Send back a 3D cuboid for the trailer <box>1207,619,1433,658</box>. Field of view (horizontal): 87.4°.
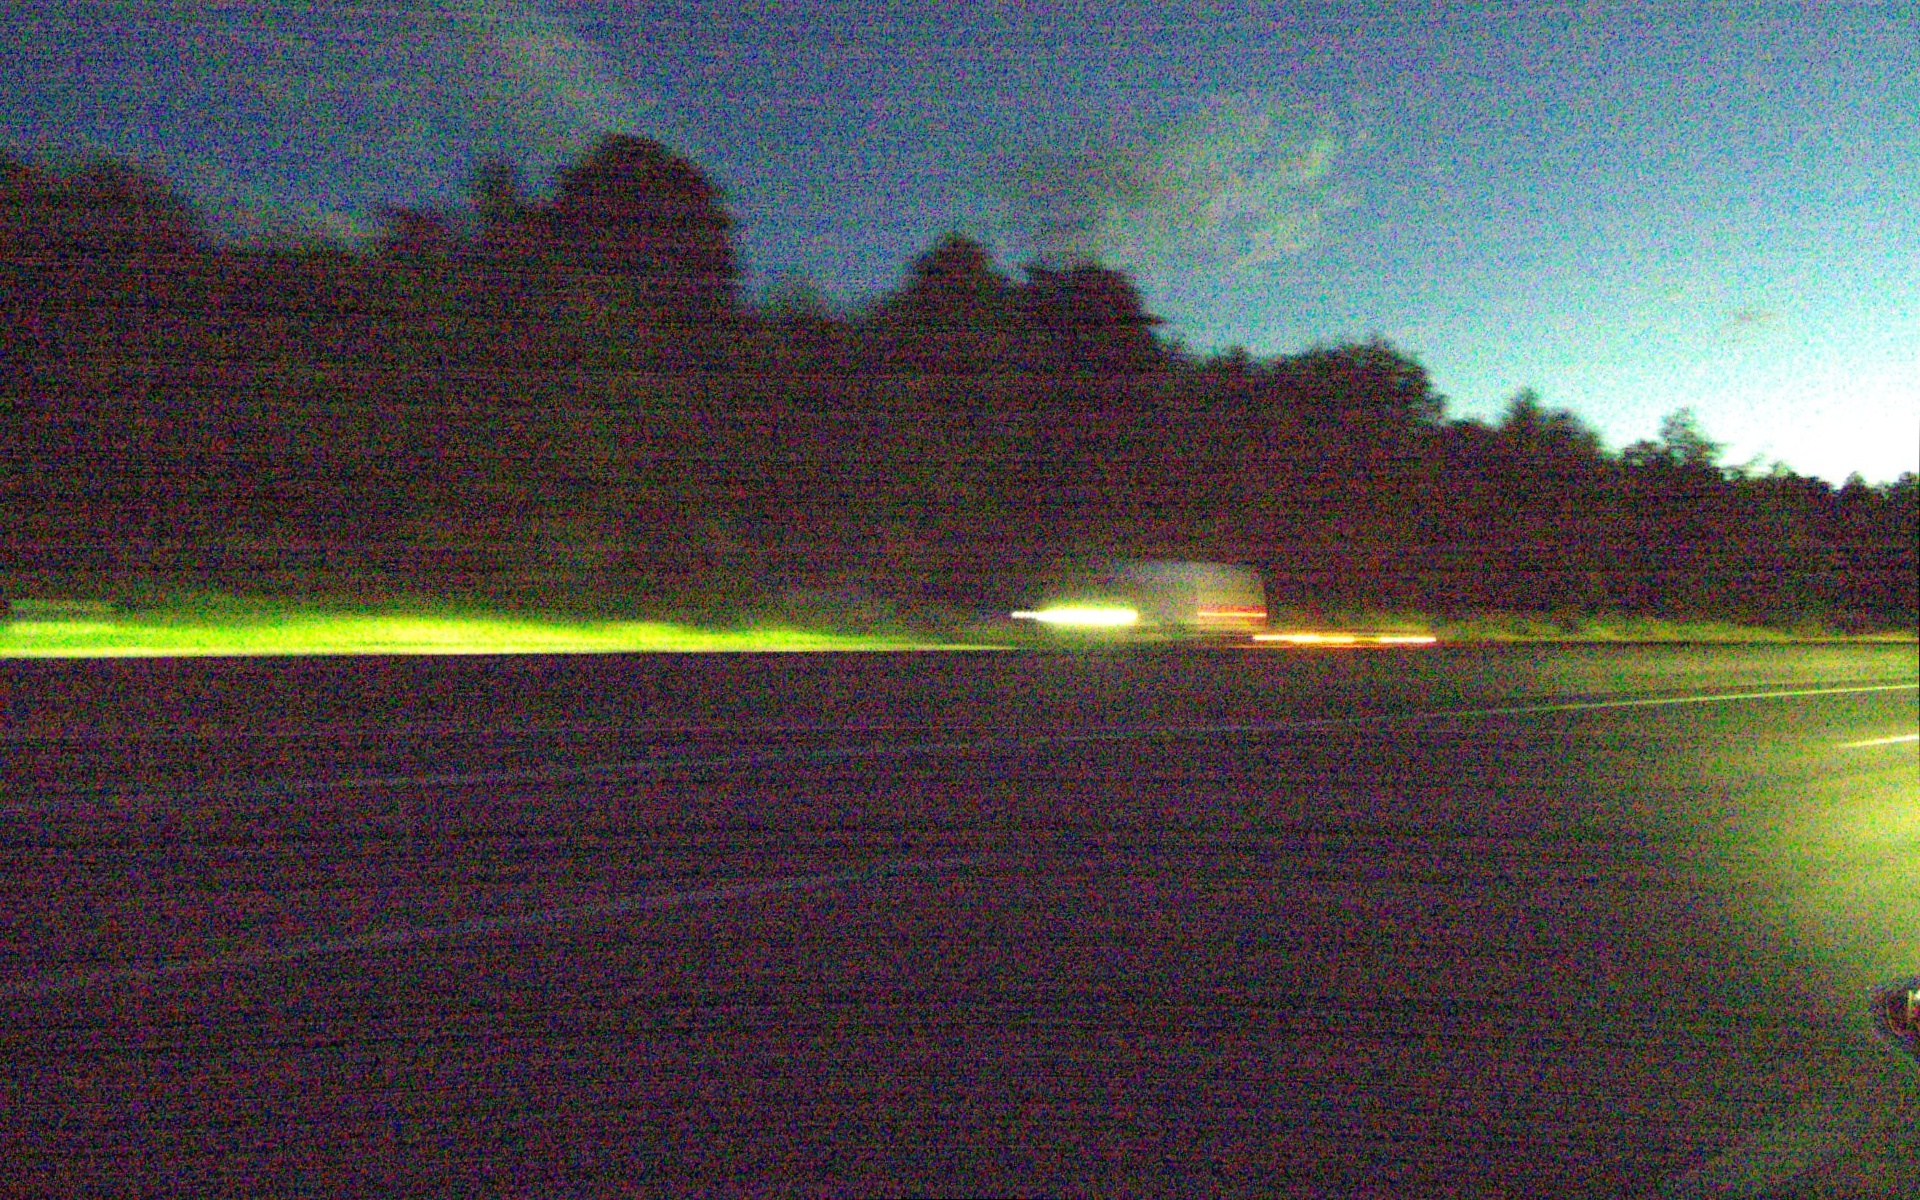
[{"bbox_3d":[11.987,1.276,33.149,7.980,1.119,2.404,2,-1,-30],"label":"trailer"}]

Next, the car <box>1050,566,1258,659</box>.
[{"bbox_3d":[5.781,0.424,29.598,6.168,2.520,2.072,2,0,-30],"label":"car"}]
